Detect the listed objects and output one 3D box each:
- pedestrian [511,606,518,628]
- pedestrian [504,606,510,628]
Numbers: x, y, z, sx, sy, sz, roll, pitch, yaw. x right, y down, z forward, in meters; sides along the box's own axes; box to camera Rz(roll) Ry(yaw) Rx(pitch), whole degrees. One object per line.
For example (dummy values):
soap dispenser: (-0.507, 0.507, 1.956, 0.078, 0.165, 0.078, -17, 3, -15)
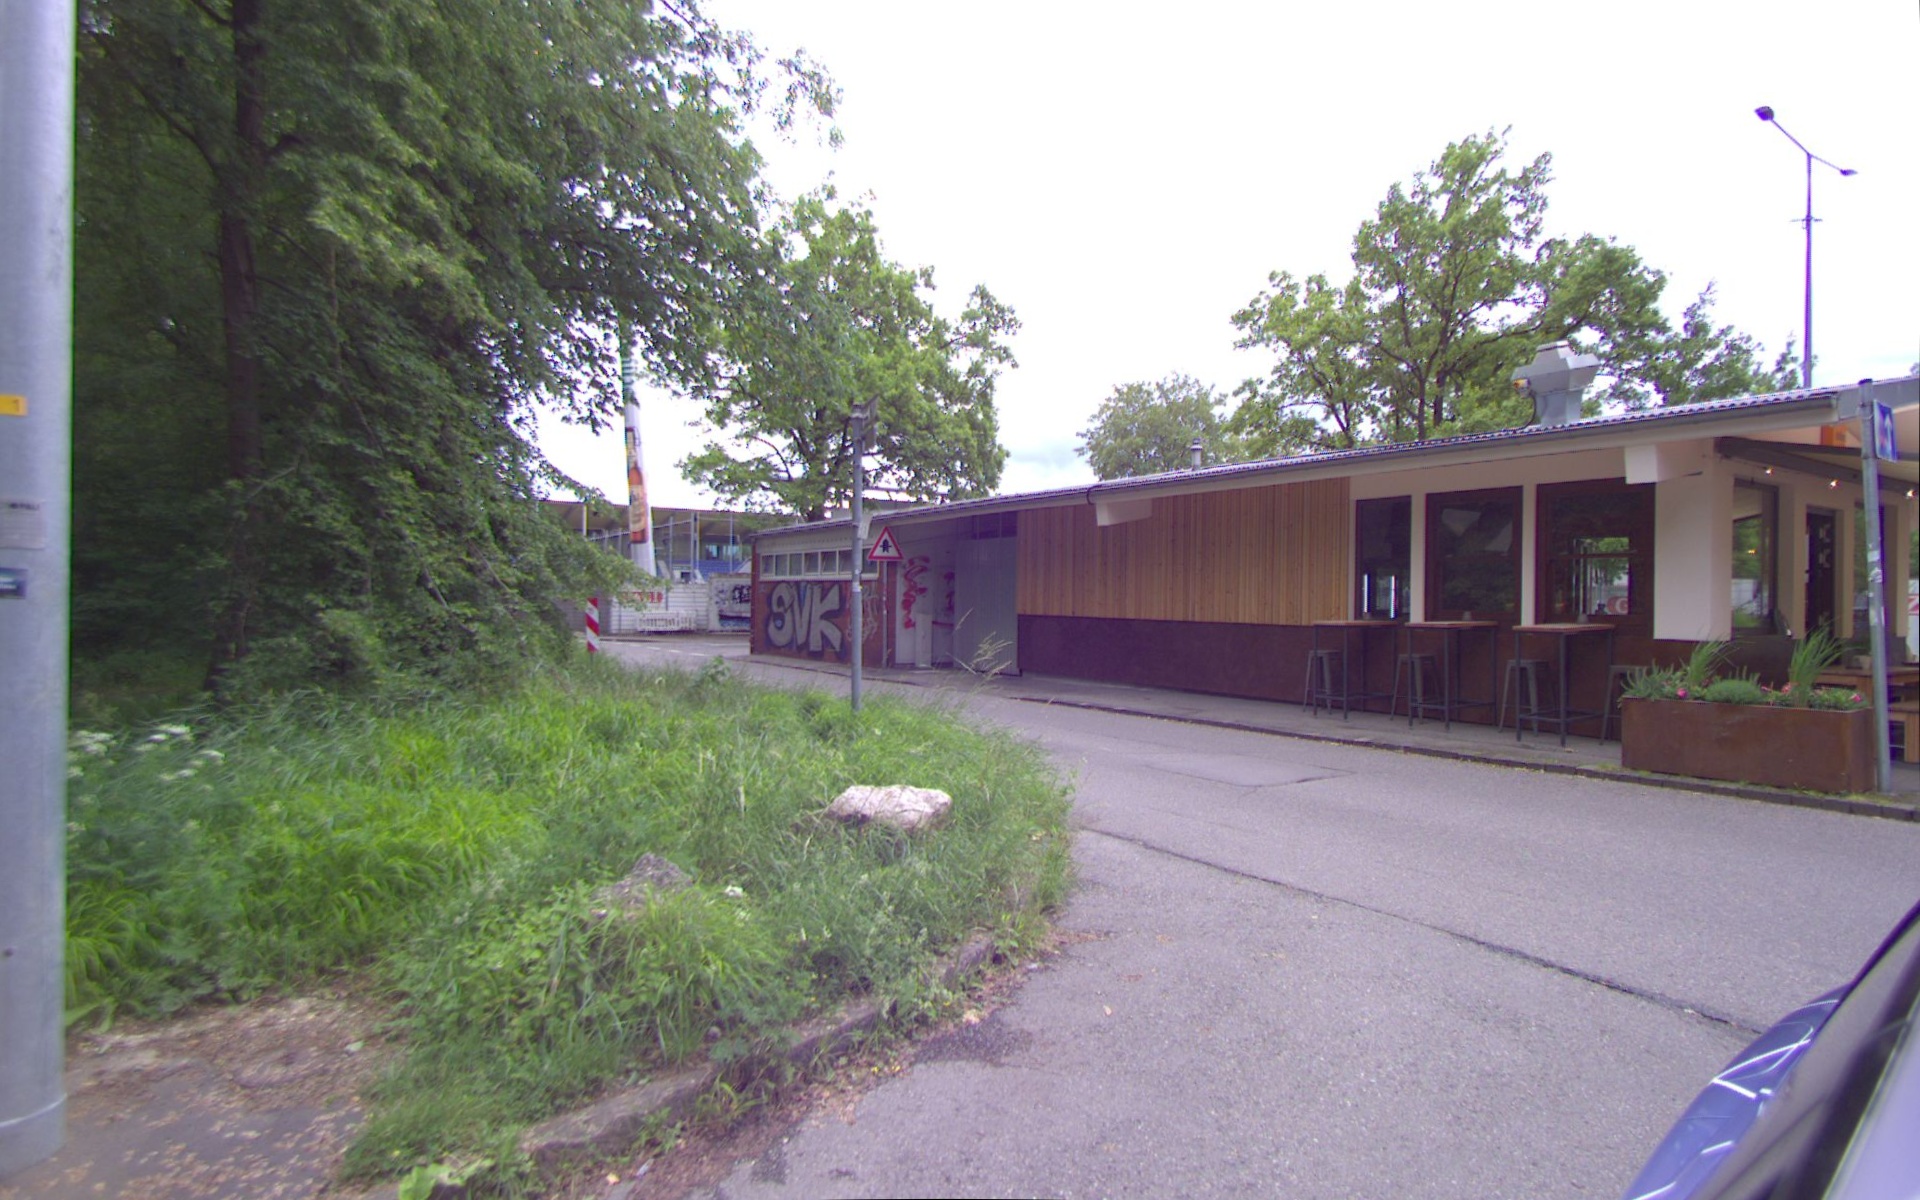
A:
pedestrian: (-29.228, 1.104, 66.360, 0.368, 1.404, 0.406, 0, -1, -29)
pedestrian: (-29.610, 1.093, 66.138, 0.365, 1.404, 0.377, 0, -1, -29)
